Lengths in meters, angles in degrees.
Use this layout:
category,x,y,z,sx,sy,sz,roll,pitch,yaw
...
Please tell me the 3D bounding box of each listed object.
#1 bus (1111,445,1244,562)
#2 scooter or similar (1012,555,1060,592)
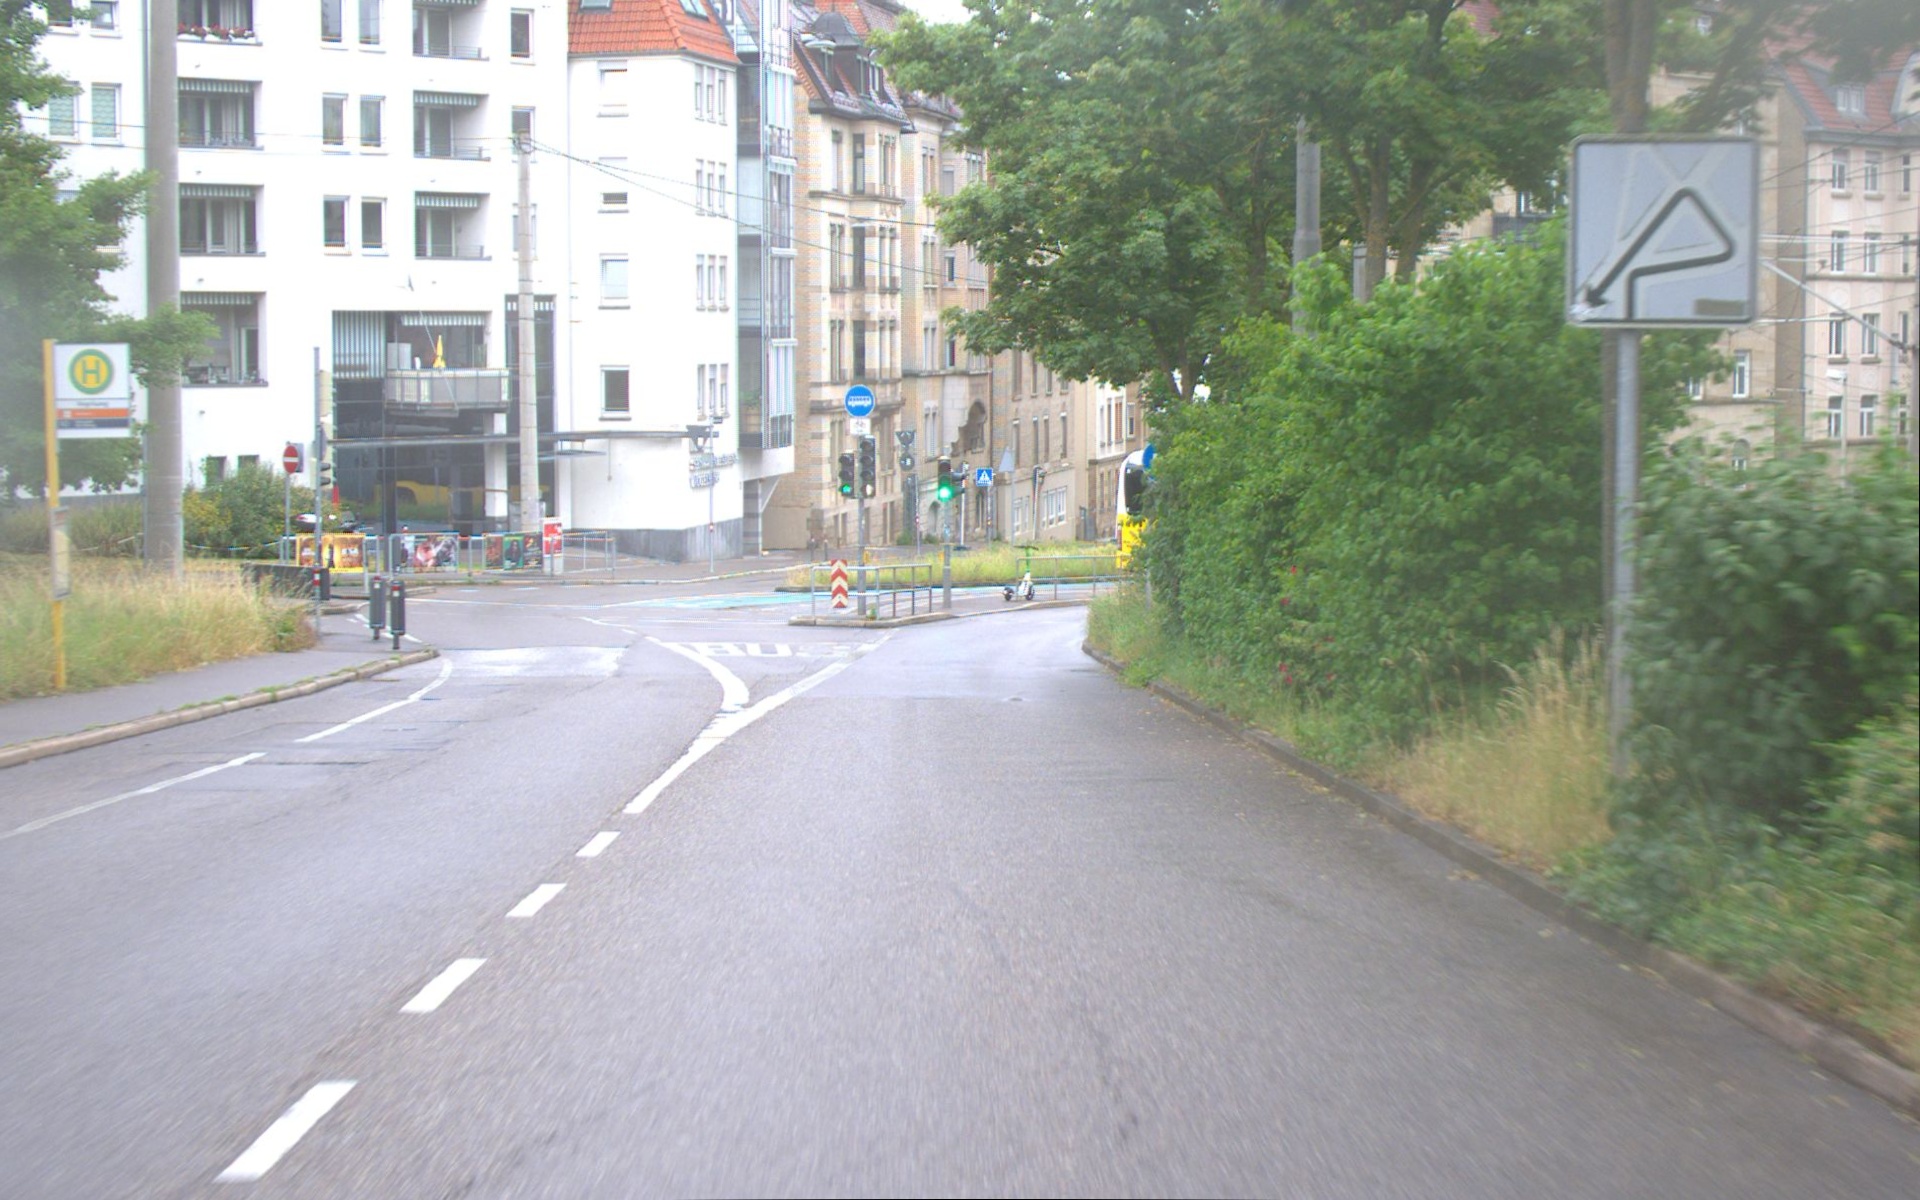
category,x,y,z,sx,sy,sz,roll,pitch,yaw
bus,5.477,-2.409,86.179,1.996,2.861,3.995,0,1,25
scooter or similar,1.582,-0.553,71.430,0.485,0.759,1.328,0,1,27
